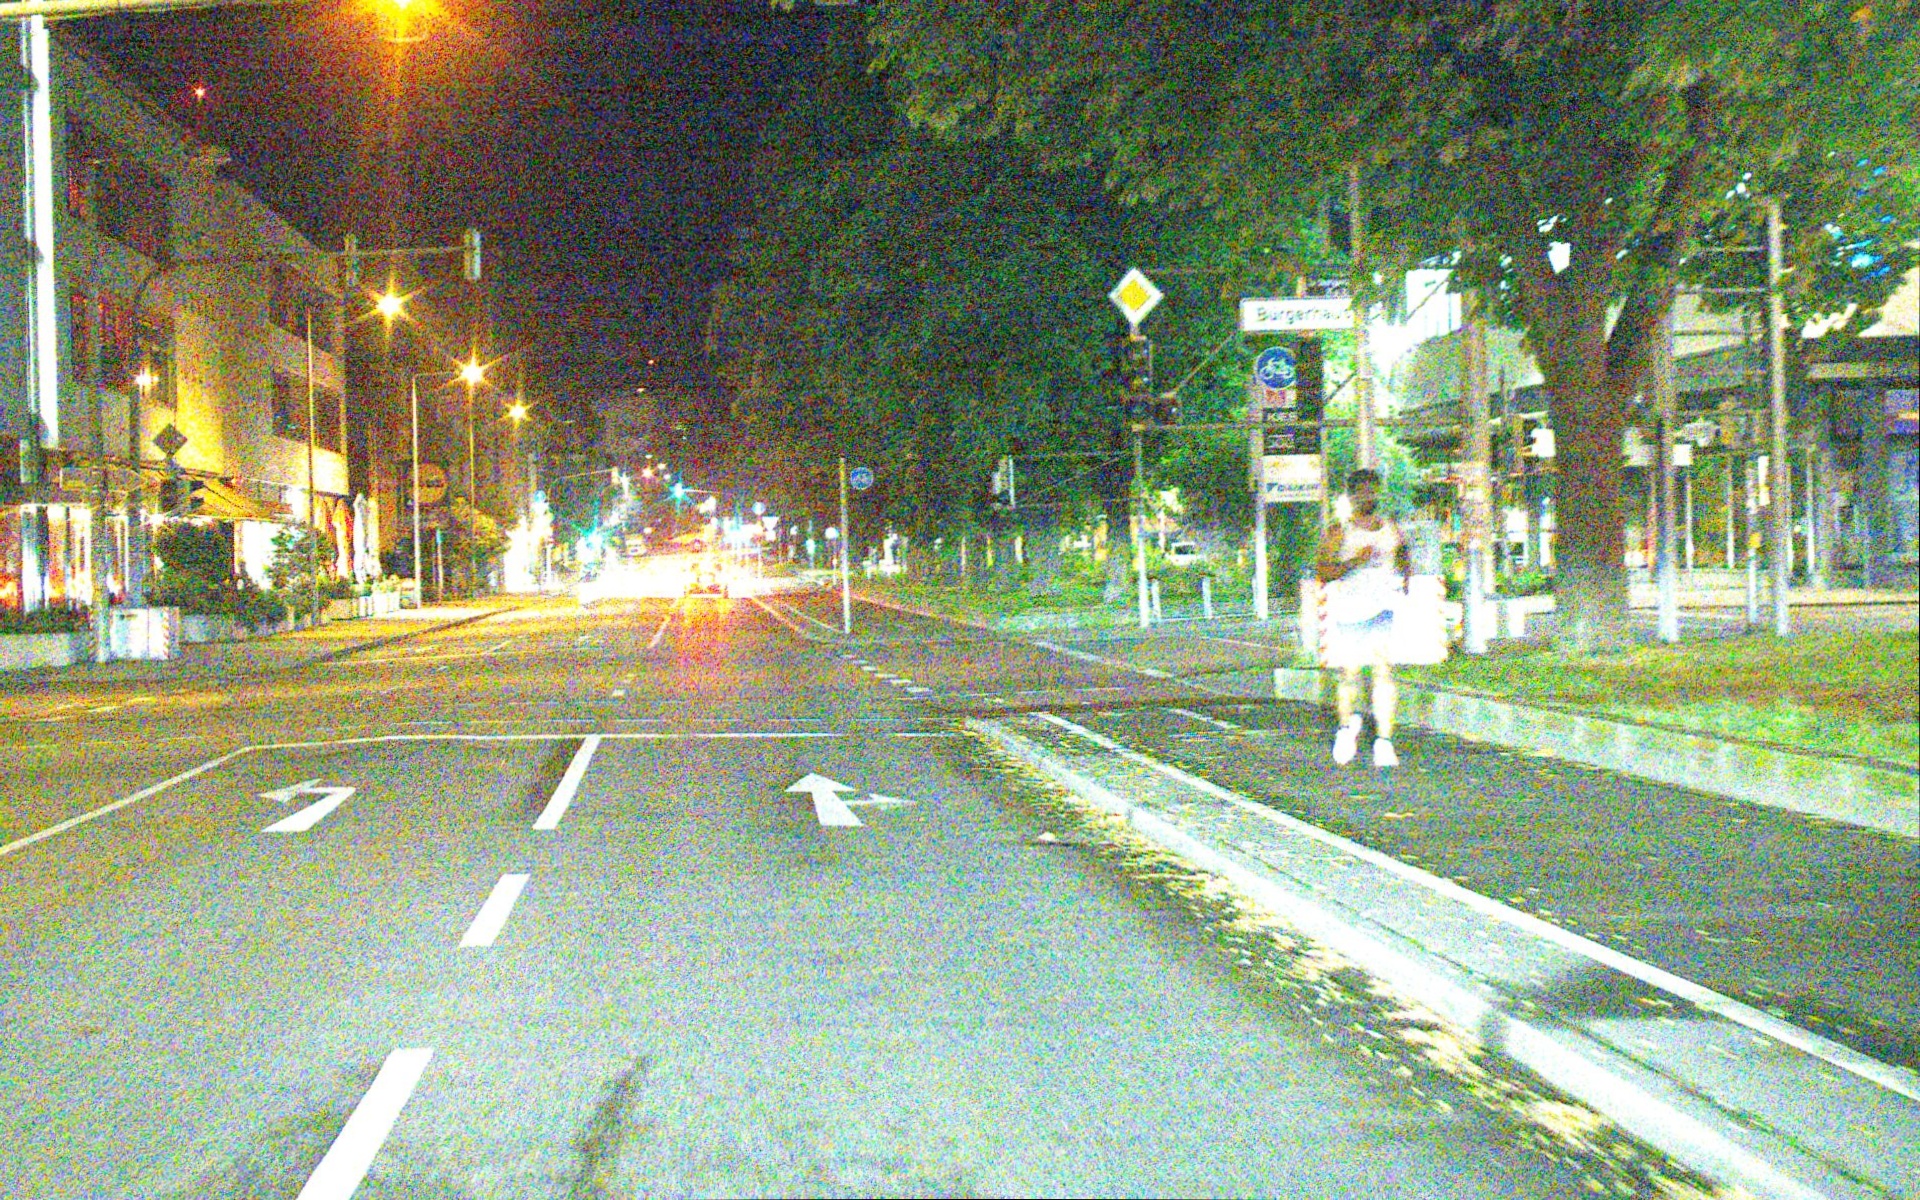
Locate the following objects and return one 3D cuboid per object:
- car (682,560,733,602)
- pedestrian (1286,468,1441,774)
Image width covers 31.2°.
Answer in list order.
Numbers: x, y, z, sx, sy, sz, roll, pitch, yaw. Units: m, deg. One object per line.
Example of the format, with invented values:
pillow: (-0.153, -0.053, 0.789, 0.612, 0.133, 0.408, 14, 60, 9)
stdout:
car: (-10.384, -0.795, 141.474, 1.993, 1.637, 4.001, -2, 1, -4)
pedestrian: (2.468, 0.118, 21.115, 0.703, 1.812, 1.082, -2, 1, -4)
